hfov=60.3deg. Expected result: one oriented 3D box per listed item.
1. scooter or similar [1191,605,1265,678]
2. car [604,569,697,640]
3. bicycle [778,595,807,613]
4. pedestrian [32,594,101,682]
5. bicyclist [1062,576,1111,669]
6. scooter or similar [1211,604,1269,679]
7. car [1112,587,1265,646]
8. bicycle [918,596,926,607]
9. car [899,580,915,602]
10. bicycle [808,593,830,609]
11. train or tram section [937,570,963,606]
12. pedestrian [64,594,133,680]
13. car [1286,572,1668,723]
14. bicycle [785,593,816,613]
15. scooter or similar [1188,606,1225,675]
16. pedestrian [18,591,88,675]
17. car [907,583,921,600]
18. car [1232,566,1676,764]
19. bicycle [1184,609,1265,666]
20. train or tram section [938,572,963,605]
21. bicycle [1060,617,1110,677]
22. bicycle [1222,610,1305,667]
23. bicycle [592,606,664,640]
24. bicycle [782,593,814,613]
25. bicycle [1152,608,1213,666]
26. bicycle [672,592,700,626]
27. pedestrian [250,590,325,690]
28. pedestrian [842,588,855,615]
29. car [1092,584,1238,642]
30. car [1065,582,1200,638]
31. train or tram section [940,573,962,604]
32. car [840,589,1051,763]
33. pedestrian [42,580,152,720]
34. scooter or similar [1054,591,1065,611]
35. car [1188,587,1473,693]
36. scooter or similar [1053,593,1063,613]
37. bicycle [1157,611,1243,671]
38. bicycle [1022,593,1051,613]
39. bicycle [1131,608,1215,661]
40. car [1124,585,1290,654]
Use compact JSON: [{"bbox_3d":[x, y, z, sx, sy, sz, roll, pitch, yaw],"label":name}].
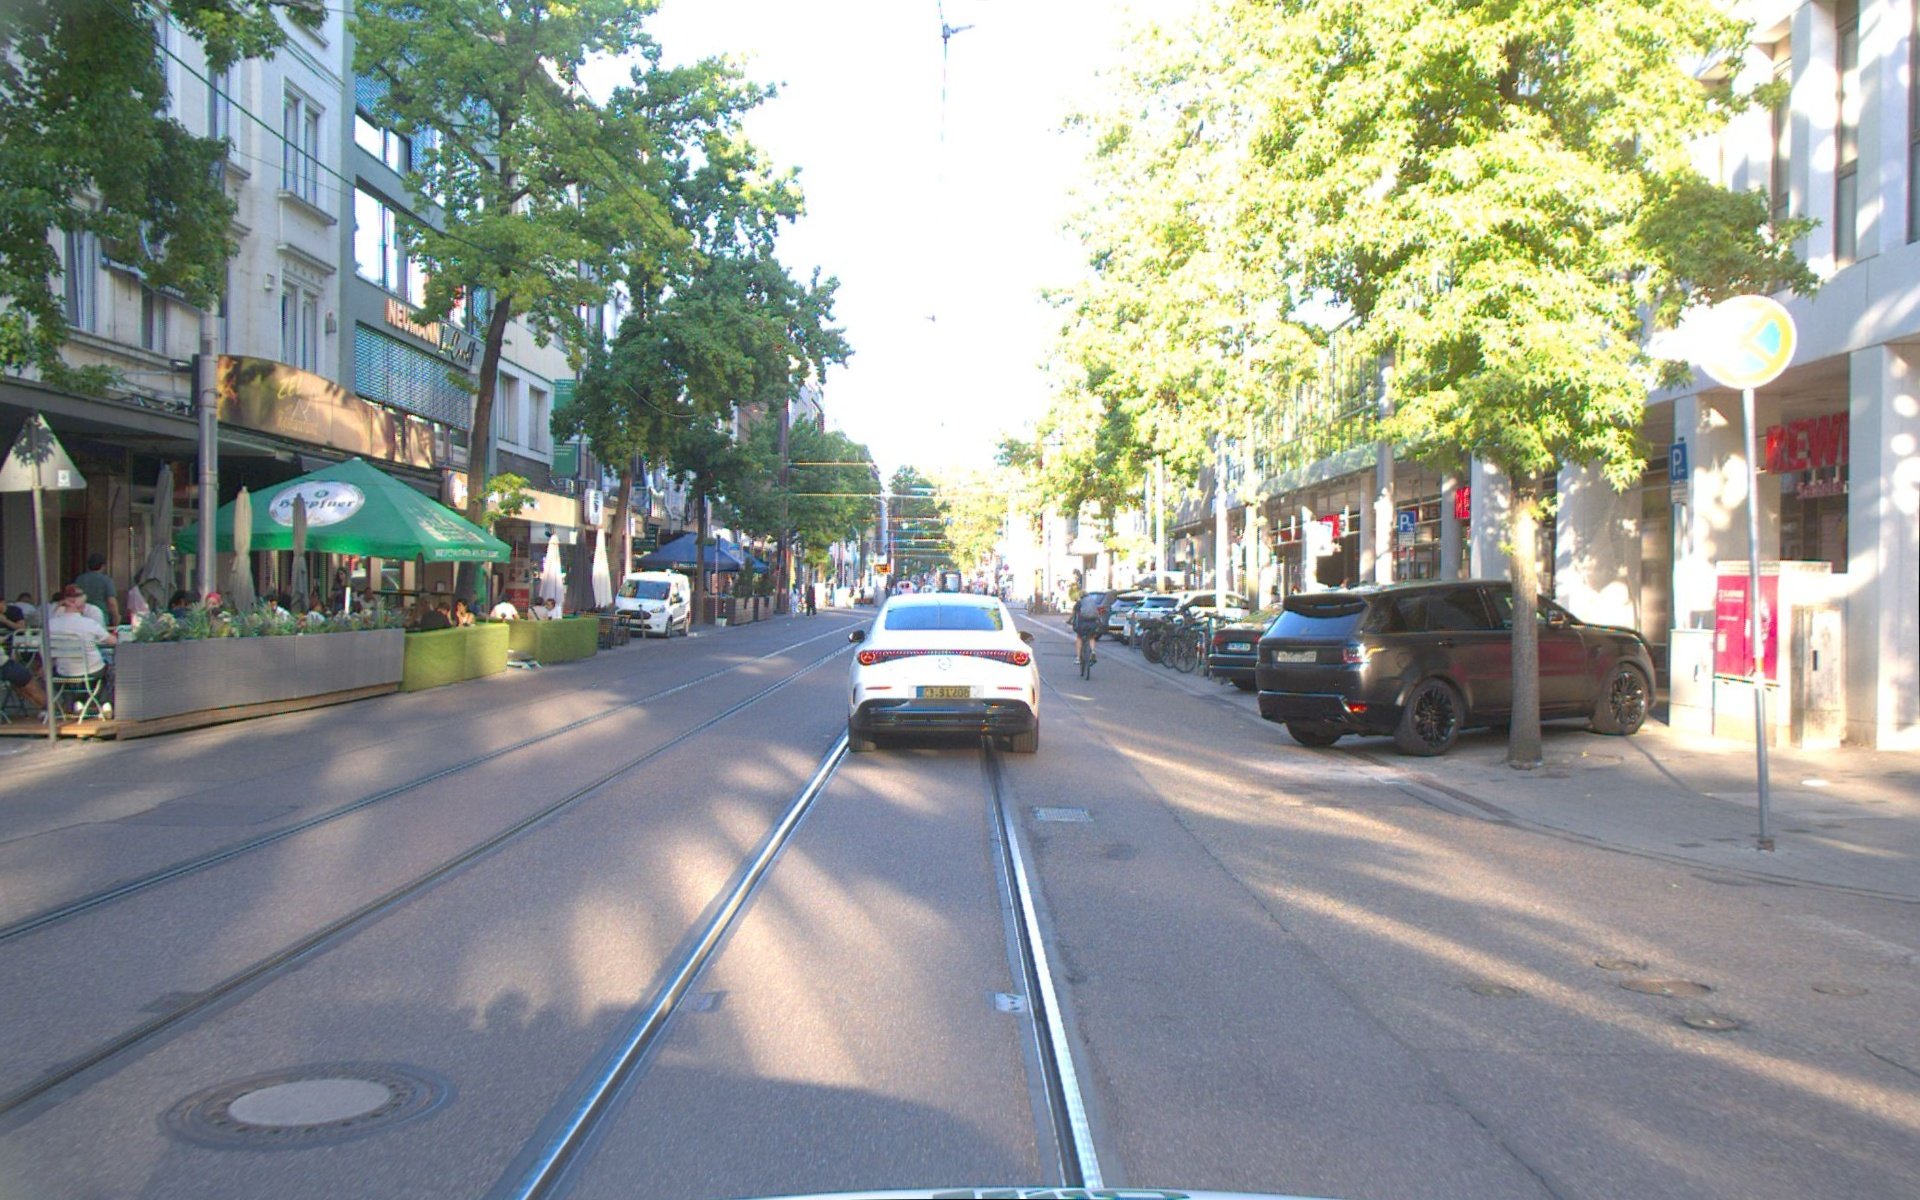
[{"bbox_3d":[5.113,0.778,31.542,1.290,1.298,0.558,-3,0,-32],"label":"scooter or similar"},{"bbox_3d":[-9.081,0.111,48.901,1.759,1.897,4.554,3,0,1],"label":"car"},{"bbox_3d":[-9.366,0.219,92.488,1.562,0.947,0.377,2,0,6],"label":"bicycle"},{"bbox_3d":[-12.371,0.519,22.911,0.541,1.182,0.687,2,0,0],"label":"pedestrian"},{"bbox_3d":[2.306,0.404,30.138,0.761,1.641,0.913,2,0,9],"label":"bicyclist"},{"bbox_3d":[5.207,0.761,30.724,0.449,1.298,1.302,-3,0,36],"label":"scooter or similar"},{"bbox_3d":[6.605,0.455,47.728,4.092,1.525,1.676,-2,0,-24],"label":"car"},{"bbox_3d":[-4.105,0.196,177.757,0.784,1.162,2.256,2,0,-2],"label":"bicycle"},{"bbox_3d":[-7.200,-1.241,224.350,1.952,2.948,5.275,0,0,0],"label":"car"},{"bbox_3d":[-9.781,0.067,114.972,1.465,1.047,0.344,2,0,-11],"label":"bicycle"},{"bbox_3d":[-1.026,-1.237,173.895,2.639,3.578,12.544,0,0,0],"label":"train or tram section"},{"bbox_3d":[-12.437,0.526,23.891,0.589,1.194,0.687,2,0,0],"label":"pedestrian"},{"bbox_3d":[6.750,0.556,21.575,4.591,1.684,1.993,-2,1,-24],"label":"car"},{"bbox_3d":[-9.209,0.149,95.724,1.754,1.096,0.377,2,0,-5],"label":"bicycle"},{"bbox_3d":[4.840,0.778,32.497,0.441,1.298,1.306,-3,0,-1],"label":"scooter or similar"},{"bbox_3d":[-13.080,0.469,23.872,0.589,1.178,0.687,2,0,0],"label":"pedestrian"},{"bbox_3d":[-6.757,-1.299,243.106,1.870,2.504,5.275,0,0,0],"label":"car"},{"bbox_3d":[5.397,0.615,17.952,4.602,1.794,1.975,-2,0,-30],"label":"car"},{"bbox_3d":[5.759,0.812,36.025,1.669,1.125,0.627,-3,0,-27],"label":"bicycle"},{"bbox_3d":[-1.045,-1.308,186.448,2.639,3.578,12.544,0,0,0],"label":"train or tram section"},{"bbox_3d":[2.292,0.838,30.160,0.703,1.012,2.060,2,0,9],"label":"bicycle"},{"bbox_3d":[6.415,0.799,34.934,1.652,1.093,0.725,-3,2,-31],"label":"bicycle"},{"bbox_3d":[-9.156,0.631,45.695,0.821,0.880,1.852,3,1,38],"label":"bicycle"},{"bbox_3d":[-9.781,0.162,99.925,1.808,1.160,0.377,2,0,1],"label":"bicycle"},{"bbox_3d":[4.888,0.799,36.303,0.472,1.183,1.687,-3,0,39],"label":"bicycle"},{"bbox_3d":[-9.946,0.321,59.974,0.686,1.140,2.076,3,1,-17],"label":"bicycle"},{"bbox_3d":[-9.584,0.561,23.592,0.693,1.371,0.781,2,0,2],"label":"pedestrian"},{"bbox_3d":[-7.732,0.098,114.783,0.771,1.832,0.844,1,0,1],"label":"pedestrian"},{"bbox_3d":[6.267,0.382,50.472,4.194,1.615,1.864,-2,0,-32],"label":"car"},{"bbox_3d":[5.698,0.311,54.487,4.300,1.681,1.676,-2,0,-32],"label":"car"},{"bbox_3d":[-1.070,-1.370,198.288,2.639,3.578,11.142,0,0,0],"label":"train or tram section"},{"bbox_3d":[-0.138,0.657,16.611,1.819,1.481,4.175,1,0,0],"label":"car"},{"bbox_3d":[-9.046,0.512,17.359,0.675,1.410,0.807,2,0,1],"label":"pedestrian"},{"bbox_3d":[6.528,0.047,108.696,0.518,1.299,0.658,-1,0,-11],"label":"scooter or similar"},{"bbox_3d":[6.399,0.639,28.327,5.006,1.494,1.952,-3,0,-36],"label":"car"},{"bbox_3d":[6.405,0.197,108.100,0.482,1.299,0.658,-1,0,-11],"label":"scooter or similar"},{"bbox_3d":[4.940,0.836,34.054,1.542,1.107,0.860,-3,2,-31],"label":"bicycle"},{"bbox_3d":[5.256,0.196,113.383,1.874,1.303,0.608,-1,0,-12],"label":"bicycle"},{"bbox_3d":[4.933,0.798,38.252,1.870,1.139,0.661,-2,0,-30],"label":"bicycle"},{"bbox_3d":[6.453,0.479,43.039,4.109,1.598,1.833,-2,1,-34],"label":"car"}]
